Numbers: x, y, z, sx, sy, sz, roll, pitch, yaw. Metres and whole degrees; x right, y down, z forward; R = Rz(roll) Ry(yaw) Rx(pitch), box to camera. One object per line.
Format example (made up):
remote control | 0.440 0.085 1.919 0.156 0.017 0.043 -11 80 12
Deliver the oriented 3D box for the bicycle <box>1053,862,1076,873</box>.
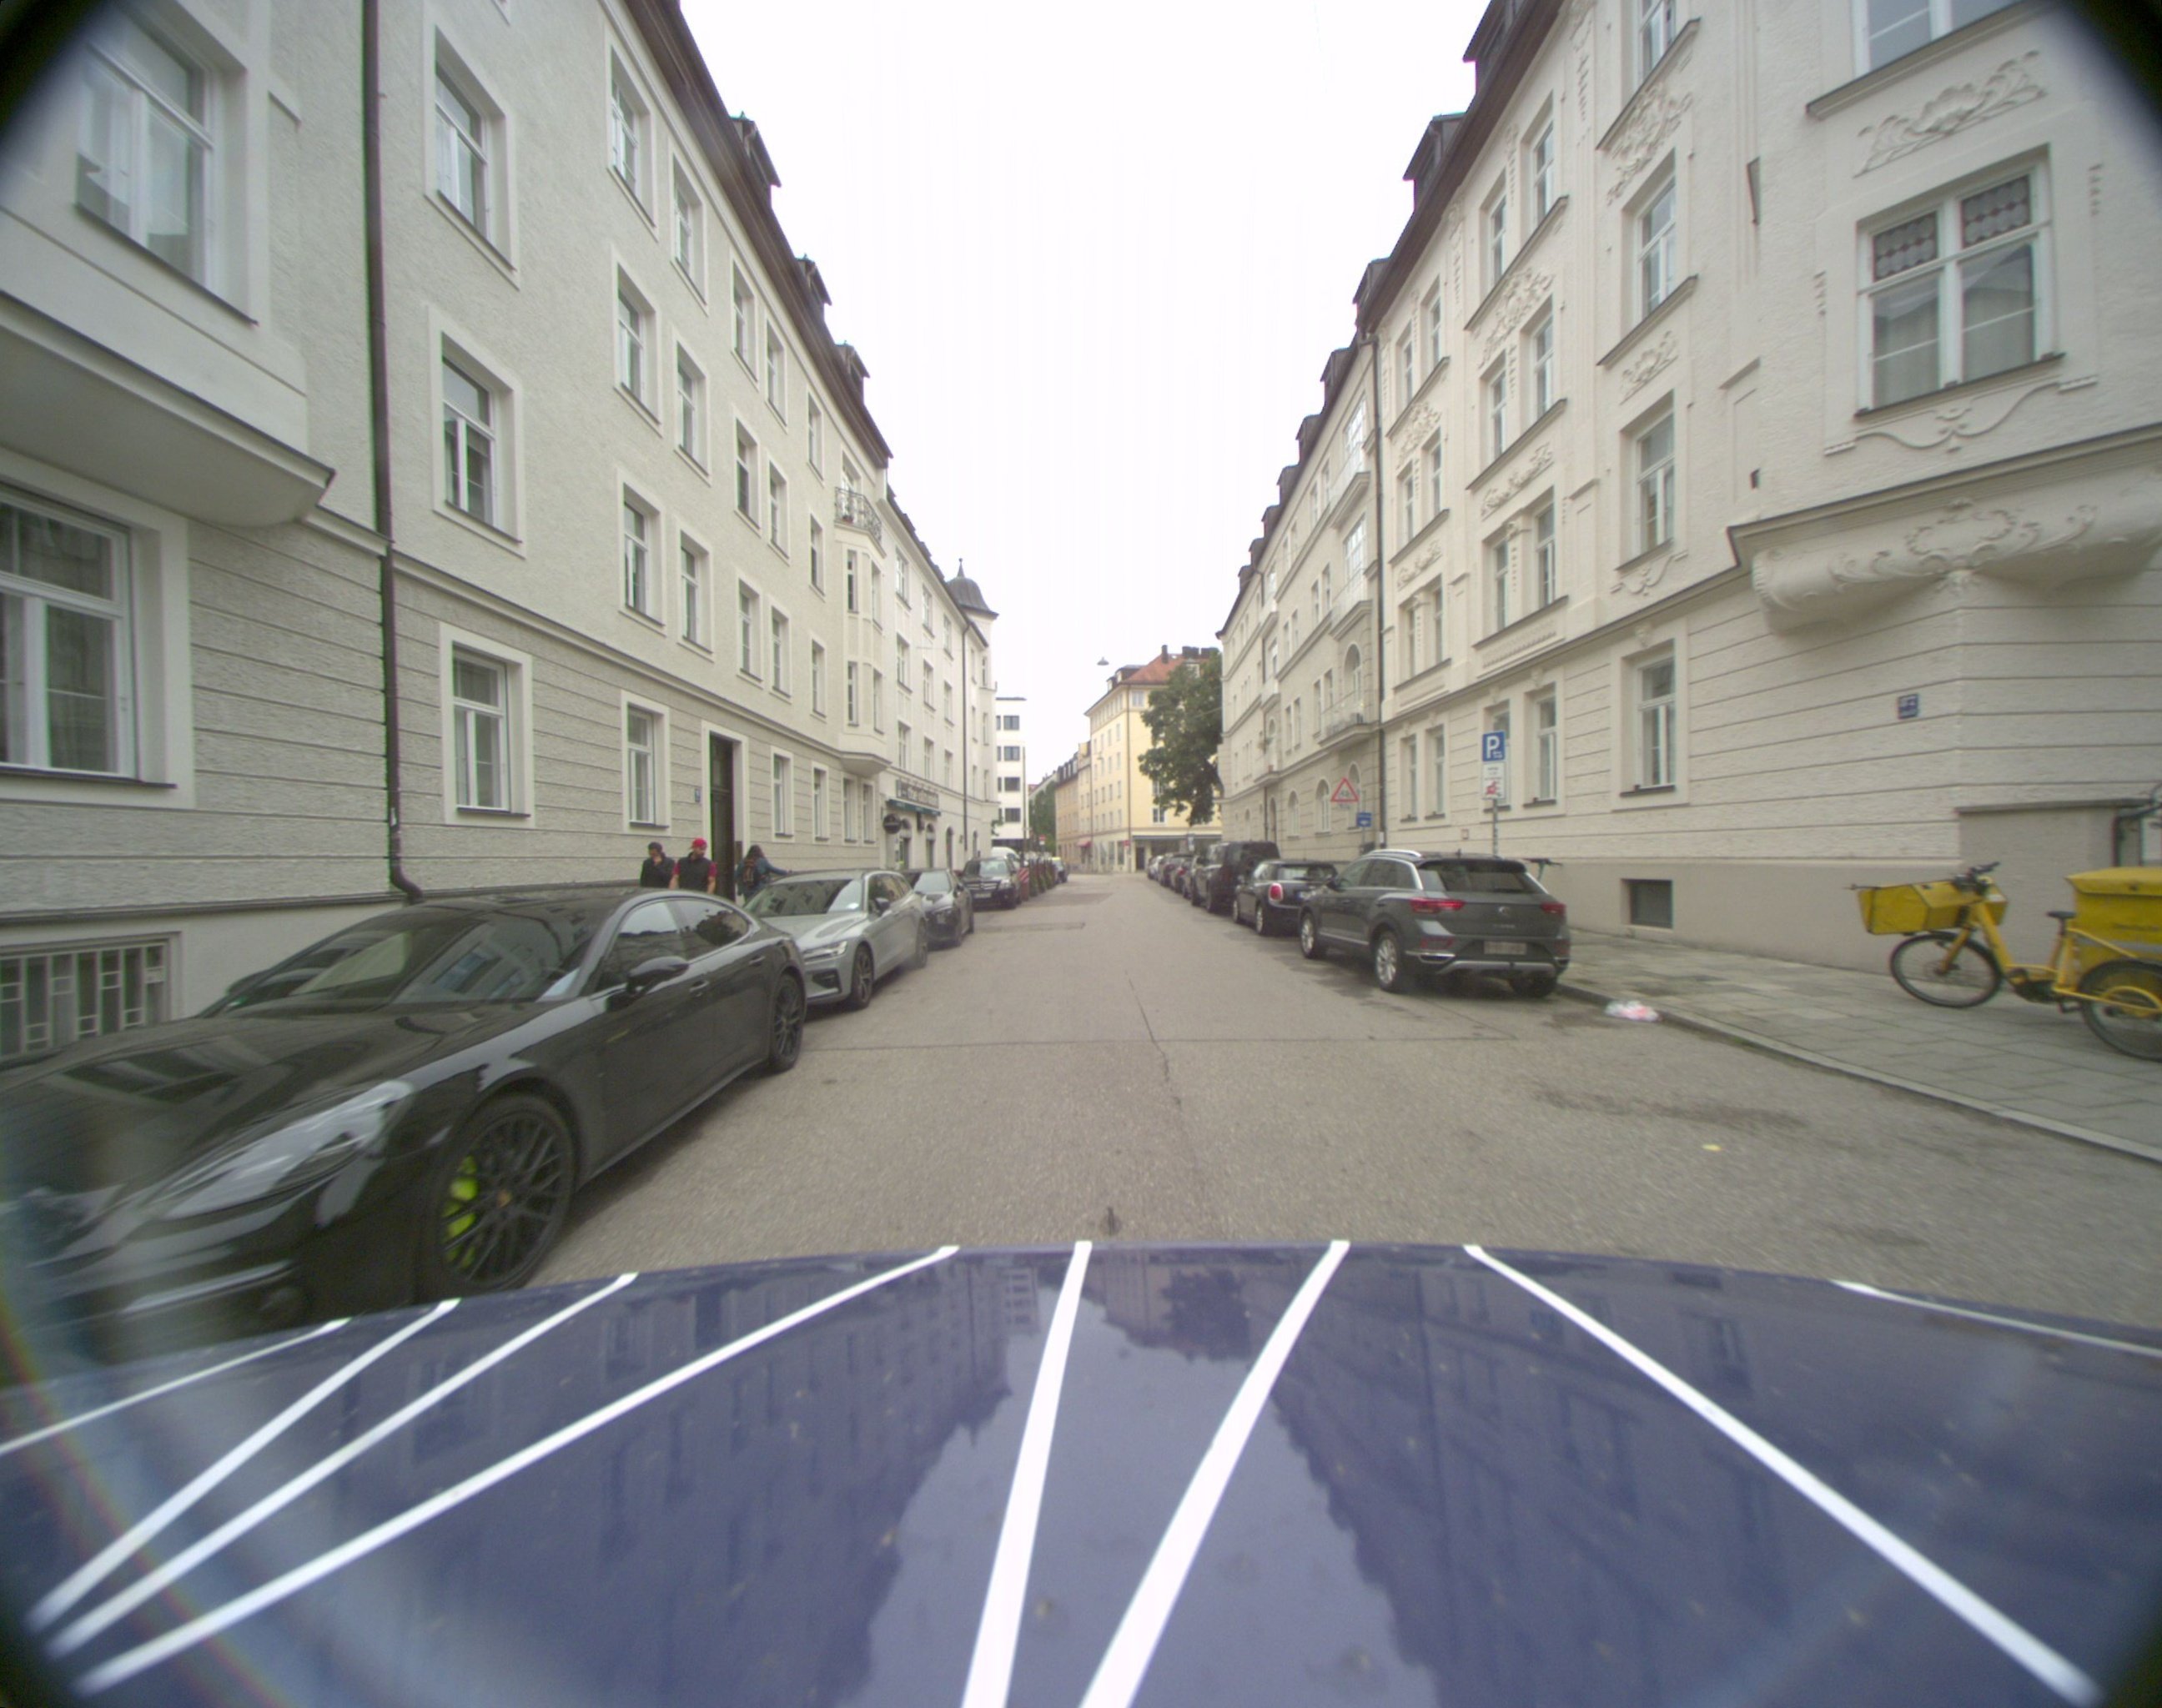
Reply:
bicycle | -1.577 1.309 72.422 1.995 0.958 0.973 -1 0 -11

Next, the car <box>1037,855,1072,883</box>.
car | -1.651 0.918 48.415 1.841 1.609 4.095 -4 0 2

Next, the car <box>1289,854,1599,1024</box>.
car | 4.062 0.821 9.369 1.731 1.609 4.120 1 0 -2

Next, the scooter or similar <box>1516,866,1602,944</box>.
scooter or similar | 8.024 0.822 12.821 0.495 1.215 1.548 -1 0 1

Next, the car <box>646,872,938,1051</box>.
car | -3.112 1.061 9.299 1.765 1.477 4.420 -4 0 0

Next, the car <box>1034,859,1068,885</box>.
car | -1.745 1.040 44.833 1.670 1.392 3.493 -4 0 2

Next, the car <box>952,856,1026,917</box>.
car | -2.829 0.949 24.209 1.805 1.665 4.189 -3 0 -1

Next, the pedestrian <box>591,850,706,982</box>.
pedestrian | -6.181 0.845 10.916 0.884 1.776 1.112 1 0 14

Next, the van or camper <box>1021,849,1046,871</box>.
van or camper | -5.828 0.705 91.717 1.968 2.494 5.717 -1 0 -14

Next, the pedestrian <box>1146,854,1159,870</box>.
pedestrian | 6.939 0.785 73.752 0.920 1.601 0.777 -1 0 31

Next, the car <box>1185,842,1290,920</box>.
car | 4.126 0.664 20.808 1.841 1.883 4.763 1 0 0

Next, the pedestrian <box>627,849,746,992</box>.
pedestrian | -5.310 0.850 10.286 0.884 1.801 1.112 1 0 17

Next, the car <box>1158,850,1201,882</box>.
car | 5.464 0.650 42.603 1.841 1.668 4.213 -1 0 0

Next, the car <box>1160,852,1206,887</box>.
car | 4.982 0.711 37.548 1.880 1.590 4.435 -1 0 3

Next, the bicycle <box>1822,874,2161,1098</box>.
bicycle | 7.277 0.852 5.479 1.154 1.235 2.716 -5 0 1

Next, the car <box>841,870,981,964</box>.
car | -3.109 1.073 14.941 1.841 1.391 4.972 -3 0 -3

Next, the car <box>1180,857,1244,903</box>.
car | 4.534 0.864 26.698 1.620 1.504 3.531 0 0 0

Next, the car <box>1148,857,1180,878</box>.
car | 5.701 0.896 52.695 1.685 1.385 4.479 0 0 -1

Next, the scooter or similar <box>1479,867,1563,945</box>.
scooter or similar | 7.376 0.842 12.808 0.533 1.193 1.548 -1 0 1

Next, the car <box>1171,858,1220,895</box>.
car | 4.742 0.905 31.988 1.658 1.399 4.092 0 0 3

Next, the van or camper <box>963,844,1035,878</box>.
van or camper | -6.939 0.597 64.447 5.870 2.697 2.304 -1 -2 -7

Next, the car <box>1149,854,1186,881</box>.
car | 5.438 0.831 48.119 1.699 1.559 3.950 -1 1 -3

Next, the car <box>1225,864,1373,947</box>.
car | 4.205 0.925 15.401 1.841 1.386 4.245 1 0 1

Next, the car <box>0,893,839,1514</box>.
car | -3.101 1.093 4.435 1.999 1.449 4.711 -1 0 -2

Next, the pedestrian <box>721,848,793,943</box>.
pedestrian | -6.519 0.813 15.368 0.885 1.803 1.111 3 0 1
